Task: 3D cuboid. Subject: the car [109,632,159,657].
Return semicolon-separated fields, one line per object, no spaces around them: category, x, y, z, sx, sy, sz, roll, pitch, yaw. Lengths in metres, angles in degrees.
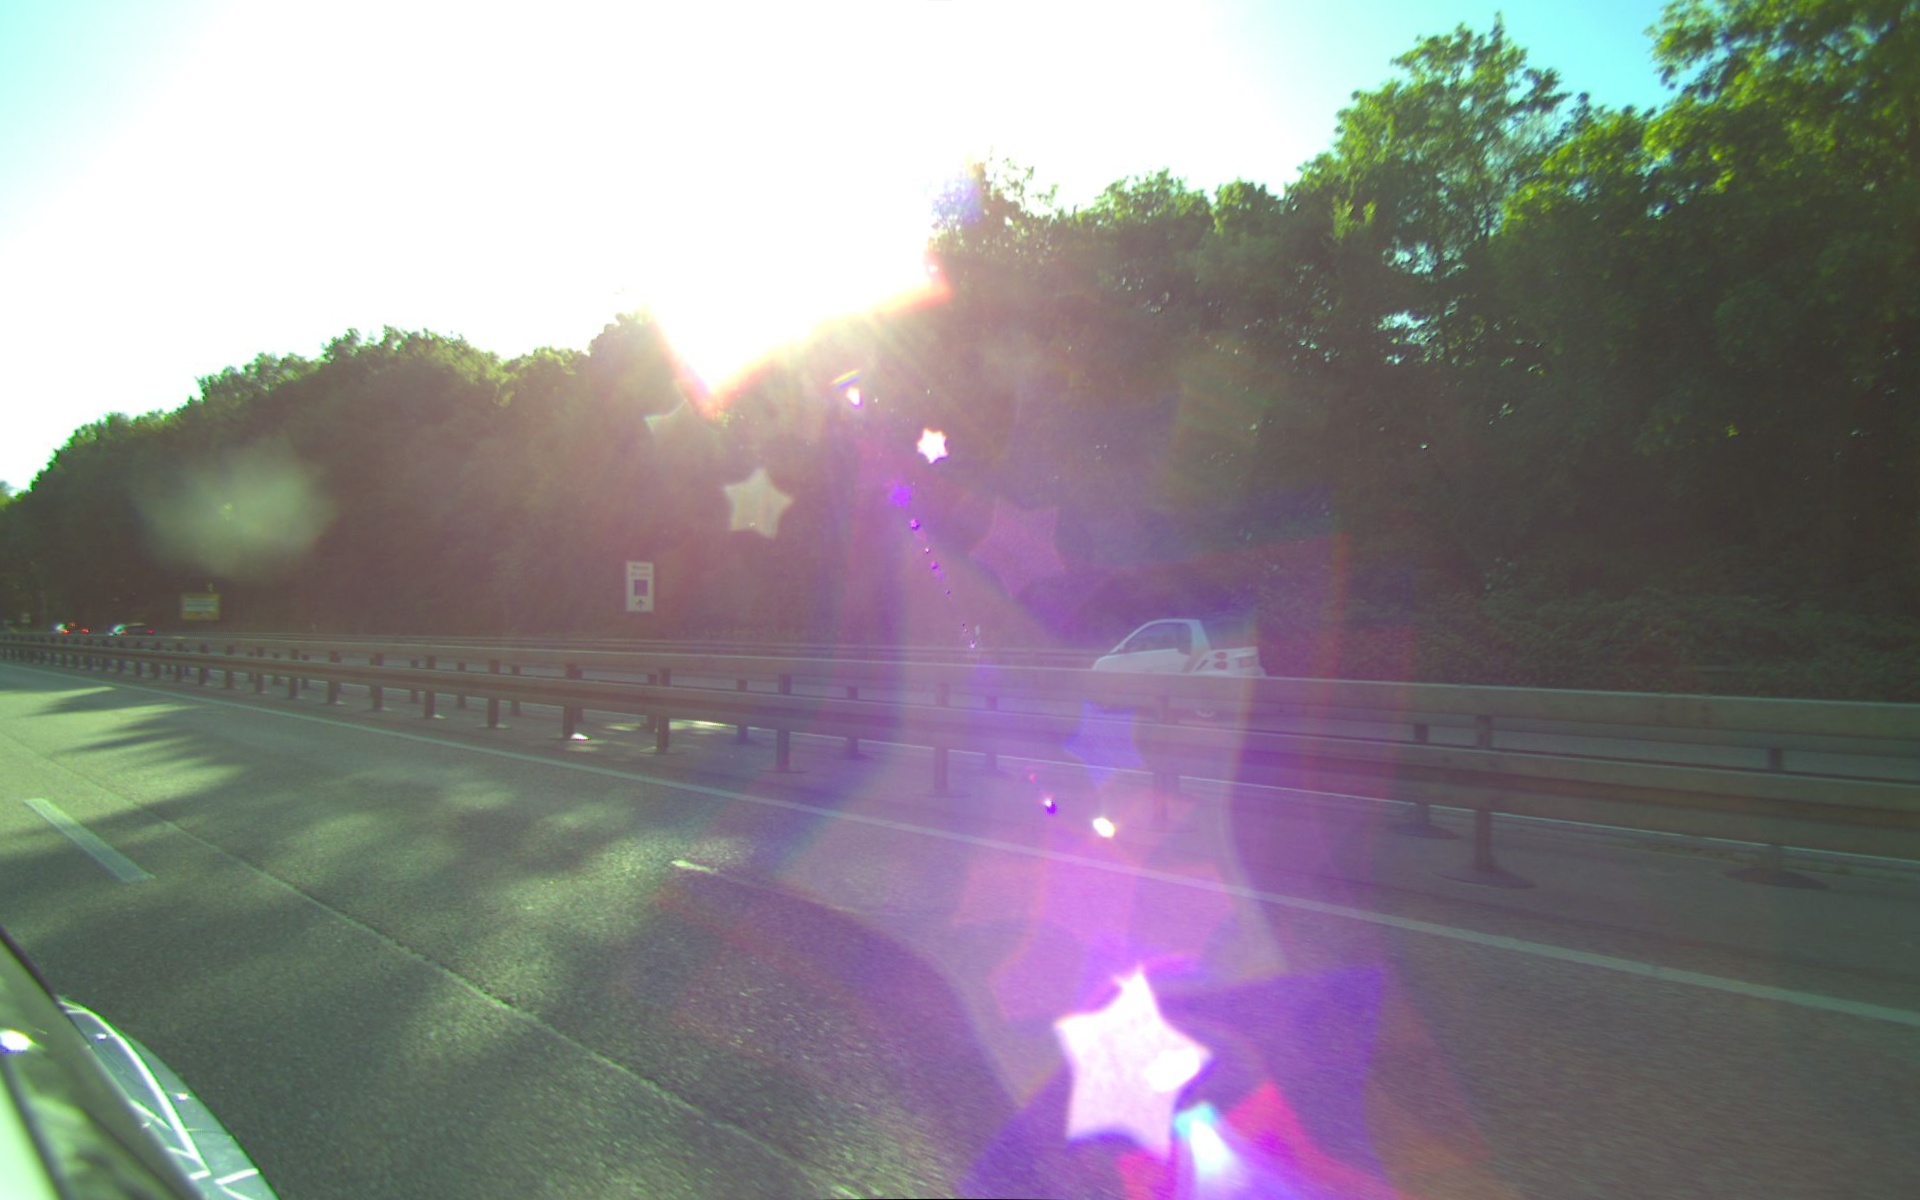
car;-49.439;2.635;60.550;3.996;1.434;1.589;-1;-1;40

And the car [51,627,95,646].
car;-73.733;3.025;84.123;4.898;1.475;1.973;-1;-3;40

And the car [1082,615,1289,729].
car;3.516;1.064;15.970;2.873;1.632;1.399;-1;-2;41
